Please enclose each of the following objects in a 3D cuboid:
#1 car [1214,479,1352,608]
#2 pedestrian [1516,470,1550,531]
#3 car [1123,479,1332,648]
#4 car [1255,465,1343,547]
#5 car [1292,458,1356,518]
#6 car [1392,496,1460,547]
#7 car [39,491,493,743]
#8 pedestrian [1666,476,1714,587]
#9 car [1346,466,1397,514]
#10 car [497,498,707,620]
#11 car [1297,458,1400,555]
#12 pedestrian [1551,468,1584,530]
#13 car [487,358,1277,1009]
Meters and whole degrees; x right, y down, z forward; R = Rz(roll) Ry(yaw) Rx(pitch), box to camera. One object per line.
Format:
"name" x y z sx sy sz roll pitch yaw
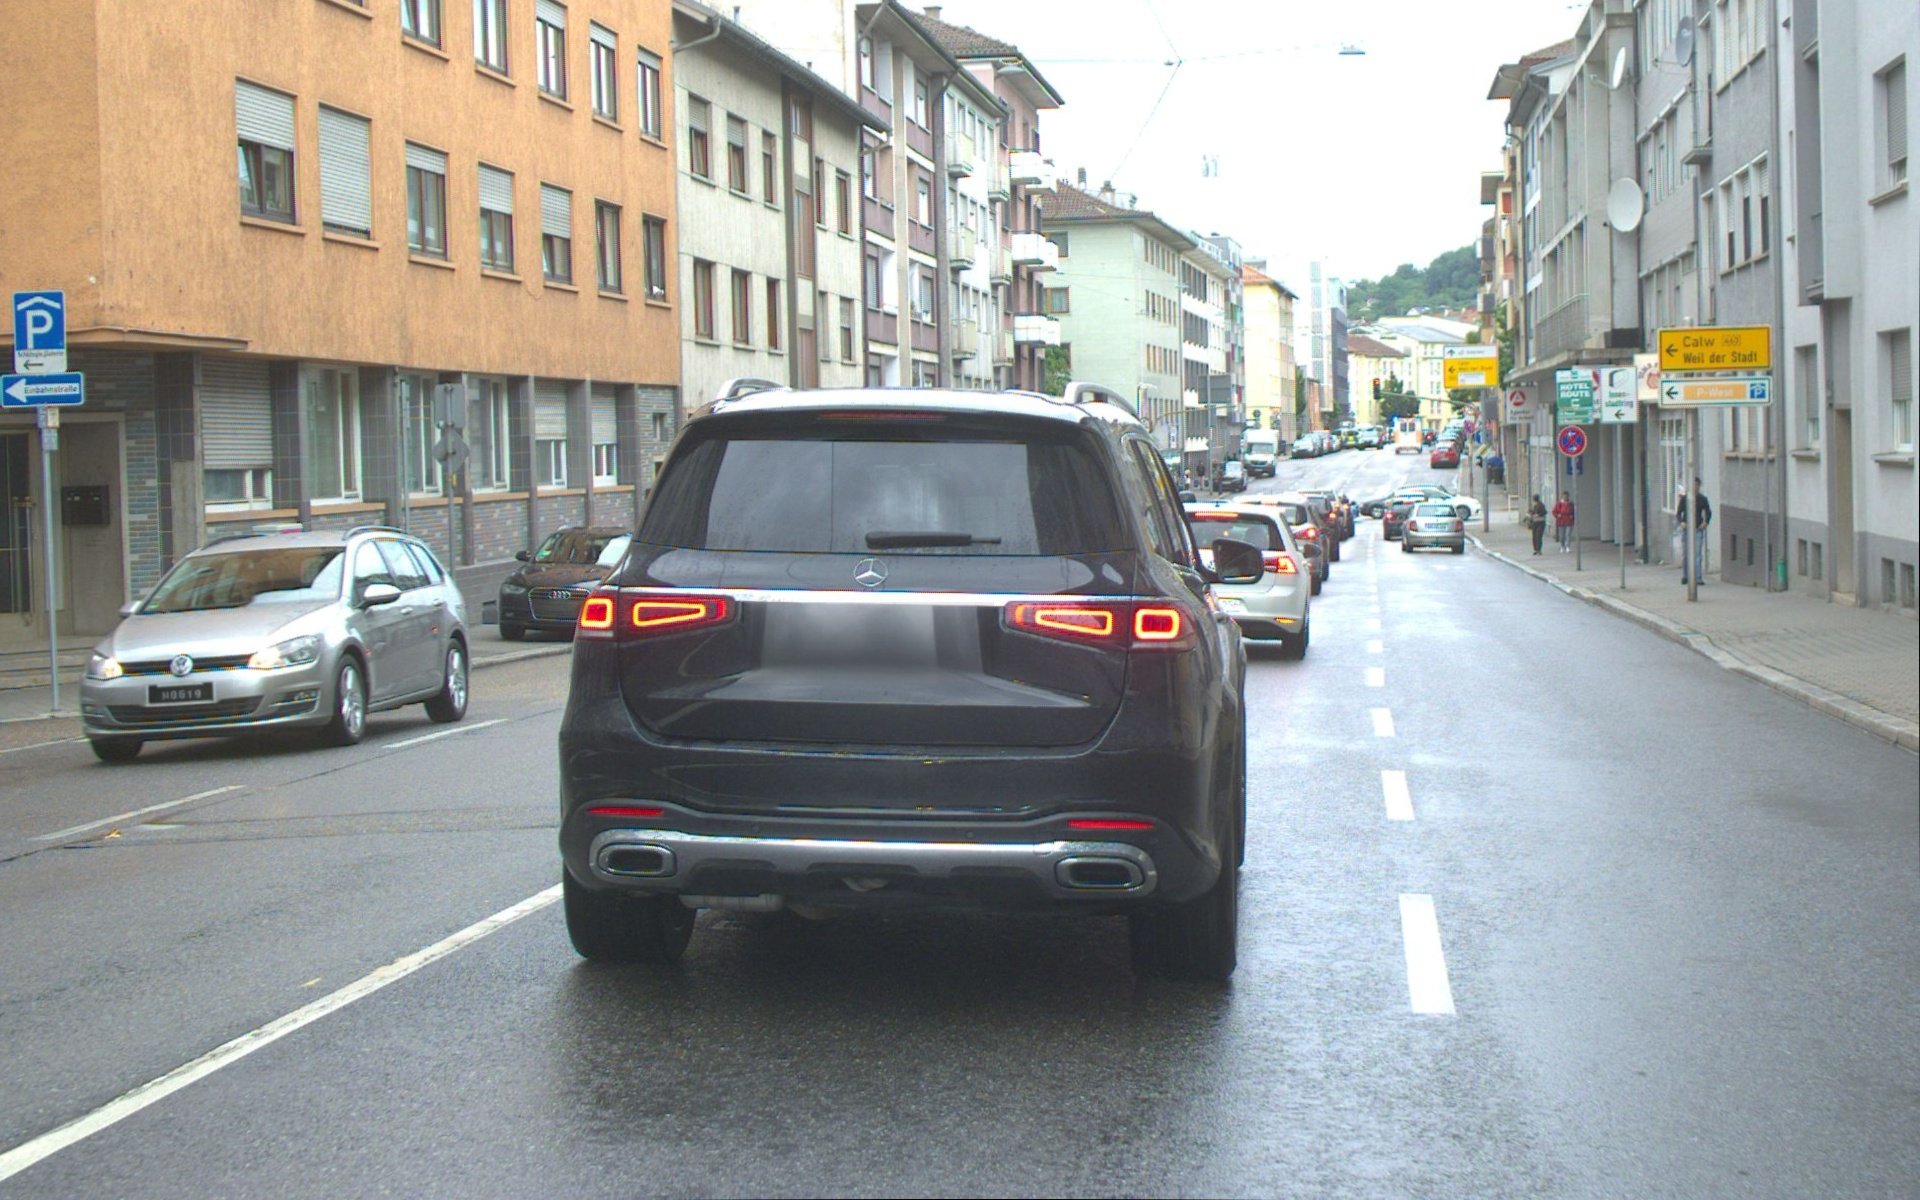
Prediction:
"car" 5.324 -0.963 56.308 1.994 2.006 3.999 0 2 9
"pedestrian" 14.582 -2.535 87.499 0.821 1.560 0.899 0 2 10
"car" 2.634 -0.411 33.971 1.893 1.505 4.173 1 2 4
"car" 8.631 -2.411 87.253 1.994 2.006 3.999 0 2 9
"car" 12.631 -3.895 119.106 1.994 2.006 3.999 0 2 9
"car" 13.381 -2.271 98.859 1.735 1.383 4.582 0 2 6
"car" -4.711 0.044 24.007 1.827 1.411 4.295 -4 2 6
"pedestrian" 11.712 -1.105 55.175 0.656 1.746 0.741 -3 1 12
"car" 17.446 -4.672 145.635 1.994 2.006 3.999 0 2 9
"car" -4.577 -0.572 44.613 1.891 1.453 4.549 0 2 5
"car" 8.341 -2.032 73.546 1.994 2.006 3.999 0 2 9
"pedestrian" 15.431 -2.561 87.345 0.821 1.560 0.899 0 2 10
"car" -0.018 0.119 11.683 2.076 1.759 4.610 0 3 6
